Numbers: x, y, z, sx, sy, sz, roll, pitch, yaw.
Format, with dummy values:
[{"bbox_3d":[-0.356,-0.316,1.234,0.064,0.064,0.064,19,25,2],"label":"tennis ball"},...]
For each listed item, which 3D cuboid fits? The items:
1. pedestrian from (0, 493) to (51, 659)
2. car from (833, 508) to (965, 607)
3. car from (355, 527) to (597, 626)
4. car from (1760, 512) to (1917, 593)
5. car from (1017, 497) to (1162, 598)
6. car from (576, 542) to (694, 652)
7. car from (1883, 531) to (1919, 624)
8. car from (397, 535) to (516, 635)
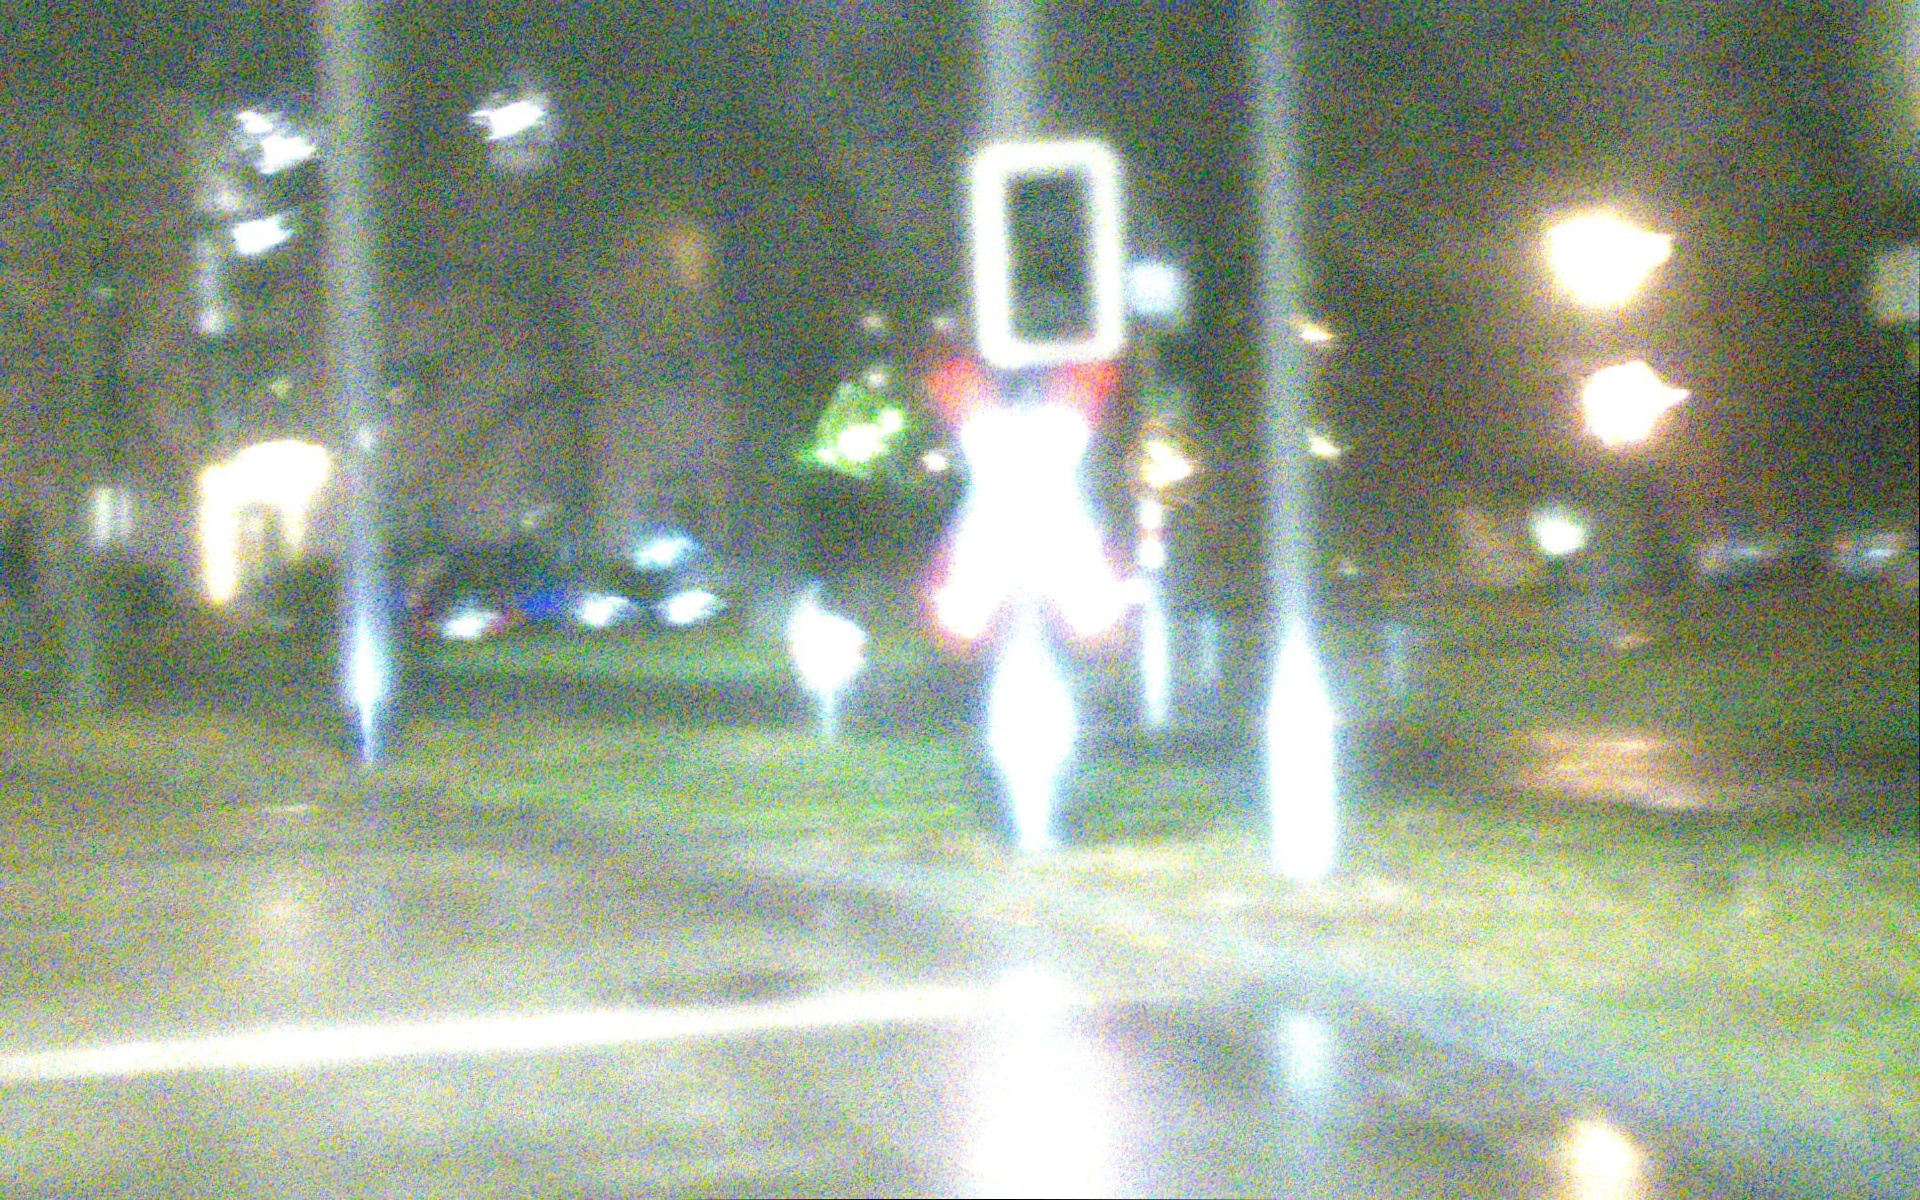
[{"bbox_3d":[-10.876,-0.279,39.640,0.652,1.895,0.729,-1,0,-23],"label":"pedestrian"},{"bbox_3d":[-0.995,-0.670,54.362,1.716,1.491,3.912,-1,1,-6],"label":"car"},{"bbox_3d":[-8.398,-0.414,59.870,4.054,1.676,1.793,0,1,-4],"label":"car"},{"bbox_3d":[17.284,-0.927,67.796,1.716,1.531,3.912,-1,1,-6],"label":"car"},{"bbox_3d":[2.022,-0.825,54.630,1.716,1.531,3.912,-1,1,-6],"label":"car"},{"bbox_3d":[-5.108,-0.023,53.647,1.716,1.492,3.912,-2,-2,-6],"label":"car"},{"bbox_3d":[16.701,-0.370,56.322,1.716,1.531,3.912,-1,1,-6],"label":"car"},{"bbox_3d":[-7.855,-0.248,53.872,1.716,1.491,3.912,-1,1,-6],"label":"car"}]
